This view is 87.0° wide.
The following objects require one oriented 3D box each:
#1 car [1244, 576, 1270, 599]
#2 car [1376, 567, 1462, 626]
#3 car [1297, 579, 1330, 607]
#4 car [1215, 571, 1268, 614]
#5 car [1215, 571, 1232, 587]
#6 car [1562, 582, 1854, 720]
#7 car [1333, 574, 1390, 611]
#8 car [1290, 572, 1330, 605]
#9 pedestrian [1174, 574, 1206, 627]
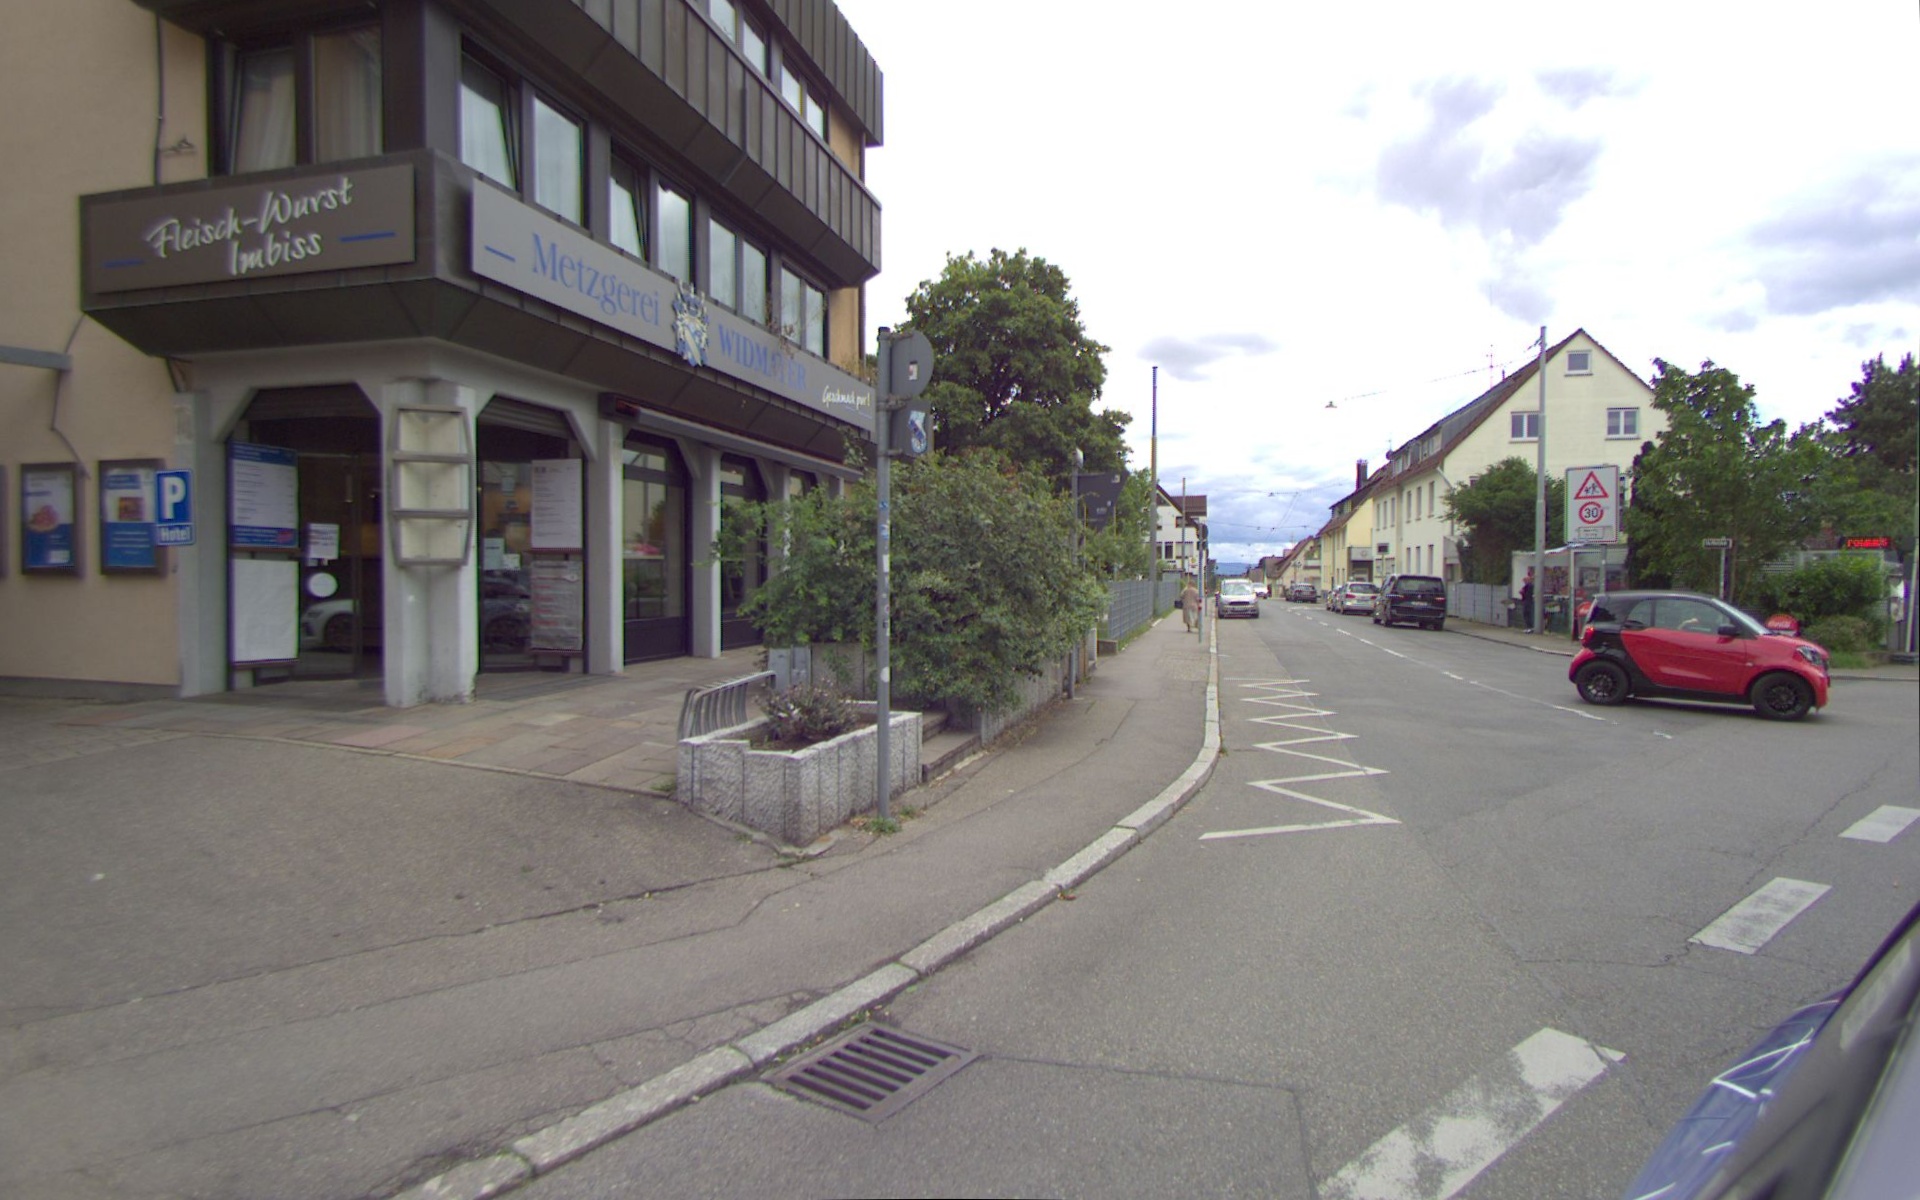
[{"bbox_3d":[27.987,-1.164,95.467,1.970,2.038,4.377,2,1,12],"label":"car"},{"bbox_3d":[16.274,-0.167,36.128,1.971,1.900,4.375,2,1,14],"label":"car"},{"bbox_3d":[27.271,-0.594,78.159,1.971,2.038,4.374,2,1,14],"label":"car"},{"bbox_3d":[12.498,-0.370,45.205,1.970,1.763,4.377,2,1,12],"label":"car"},{"bbox_3d":[36.539,-2.920,140.319,1.970,2.038,4.377,2,1,12],"label":"car"},{"bbox_3d":[9.881,0.575,13.432,2.929,1.539,1.792,3,2,42],"label":"car"},{"bbox_3d":[19.799,-0.404,50.110,1.971,1.694,4.375,2,2,14],"label":"car"},{"bbox_3d":[22.544,-0.768,65.254,1.971,2.038,4.375,2,1,14],"label":"car"},{"bbox_3d":[6.928,0.013,30.506,0.887,1.555,0.955,1,0,15],"label":"pedestrian"}]
